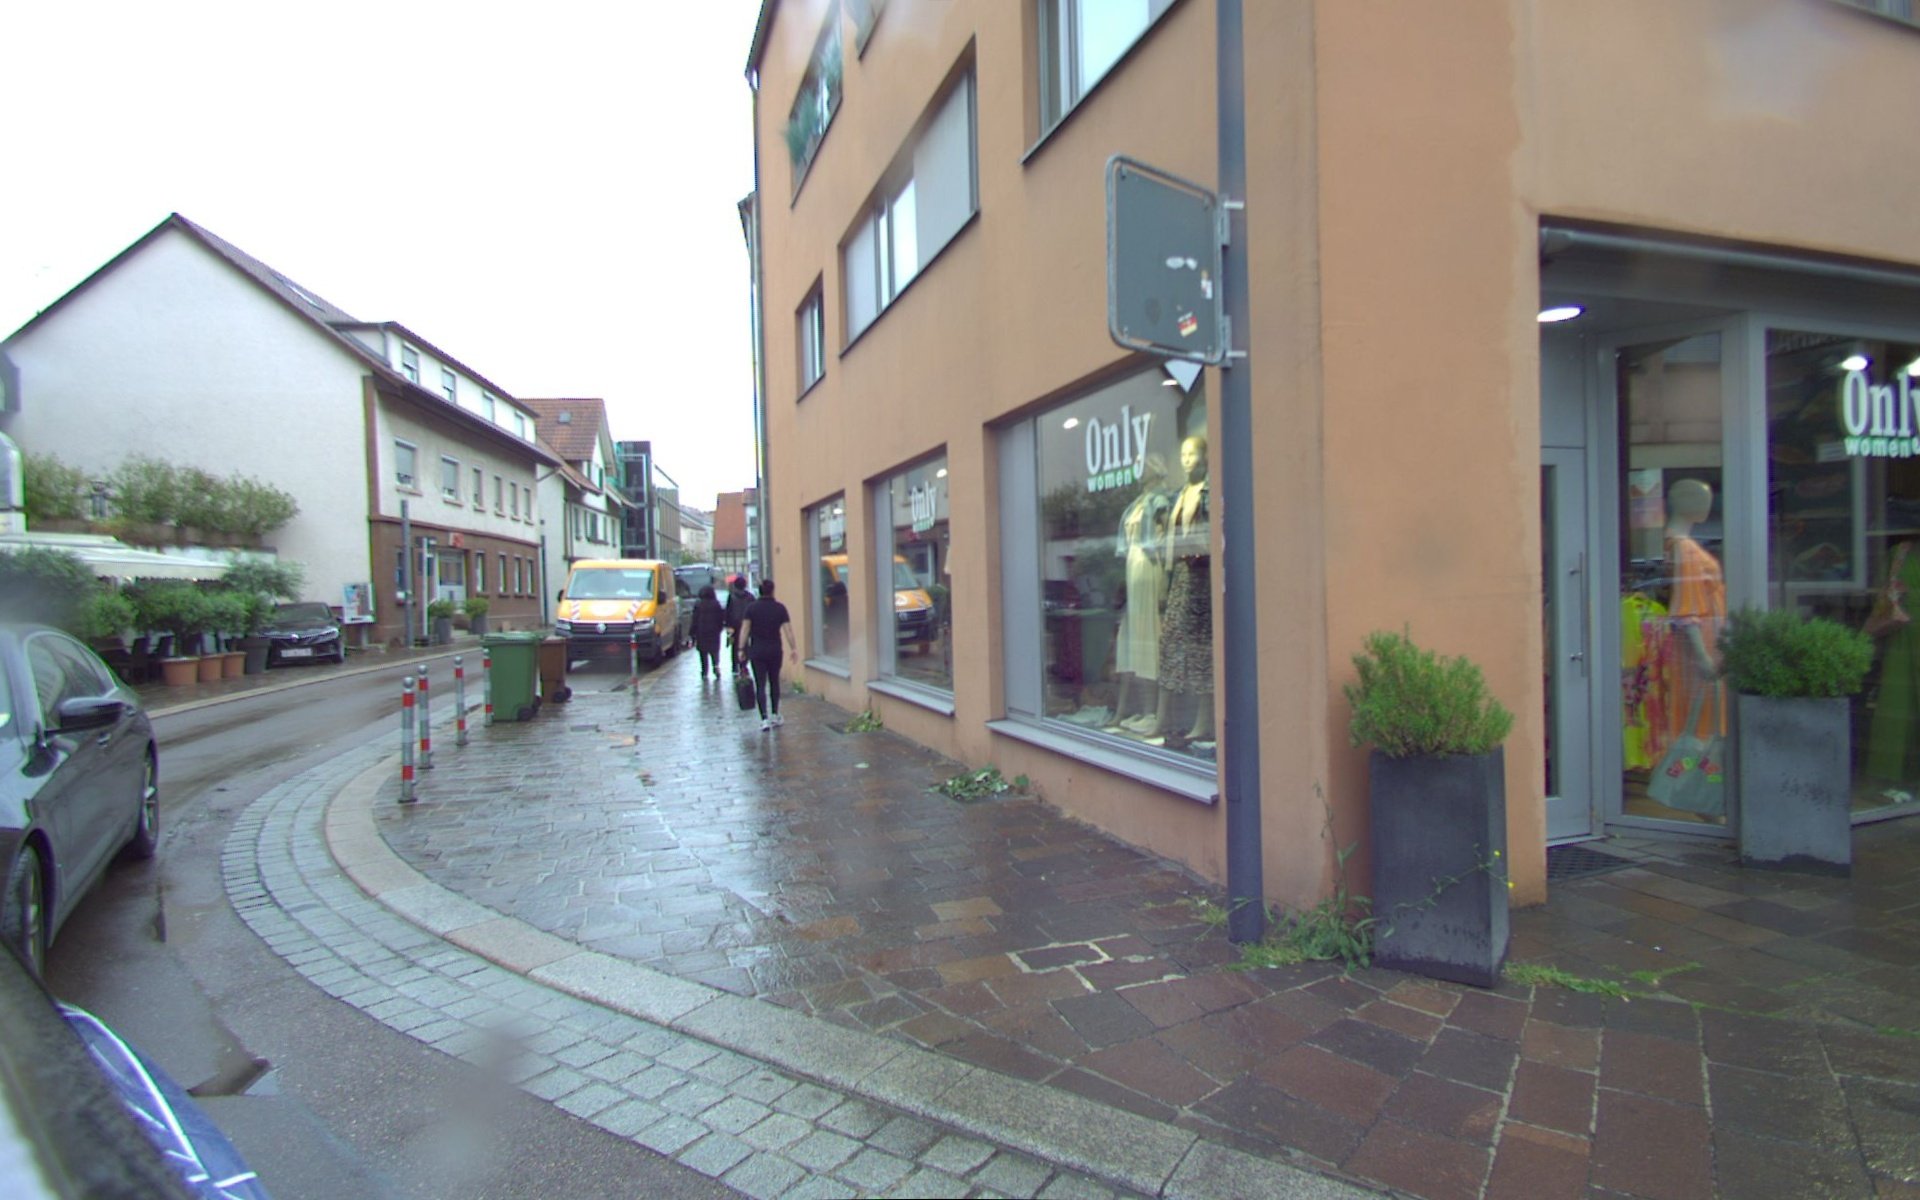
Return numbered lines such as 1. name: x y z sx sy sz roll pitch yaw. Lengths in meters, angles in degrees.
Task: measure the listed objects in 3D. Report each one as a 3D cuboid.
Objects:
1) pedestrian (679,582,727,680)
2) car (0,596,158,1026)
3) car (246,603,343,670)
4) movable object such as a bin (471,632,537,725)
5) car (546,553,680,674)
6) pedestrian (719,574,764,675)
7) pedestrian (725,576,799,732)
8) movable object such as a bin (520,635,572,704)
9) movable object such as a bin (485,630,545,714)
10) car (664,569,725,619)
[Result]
1. pedestrian: -4.531 0.528 17.819 0.705 1.651 0.748 -3 1 -17
2. car: -5.167 0.734 4.650 1.916 1.413 4.432 -2 1 -34
3. car: -15.313 0.773 23.418 1.709 1.367 3.948 -2 1 -32
4. movable object such as a bin: -5.487 0.925 12.211 0.647 1.044 0.612 -2 0 -18
5. car: -7.460 0.235 22.333 1.967 2.256 5.875 -1 1 -11
6. pedestrian: -3.895 0.427 18.010 0.614 1.725 0.811 -3 1 -17
7. pedestrian: -2.168 0.564 11.056 0.650 1.622 0.686 -2 0 -20
8. movable object such as a bin: -5.969 0.993 14.601 0.574 0.934 0.482 -2 0 -9
9. movable object such as a bin: -5.888 0.940 13.422 0.647 1.044 0.612 -1 0 -18
10. car: -16.929 -0.298 65.064 2.669 2.895 8.859 -2 0 -8
